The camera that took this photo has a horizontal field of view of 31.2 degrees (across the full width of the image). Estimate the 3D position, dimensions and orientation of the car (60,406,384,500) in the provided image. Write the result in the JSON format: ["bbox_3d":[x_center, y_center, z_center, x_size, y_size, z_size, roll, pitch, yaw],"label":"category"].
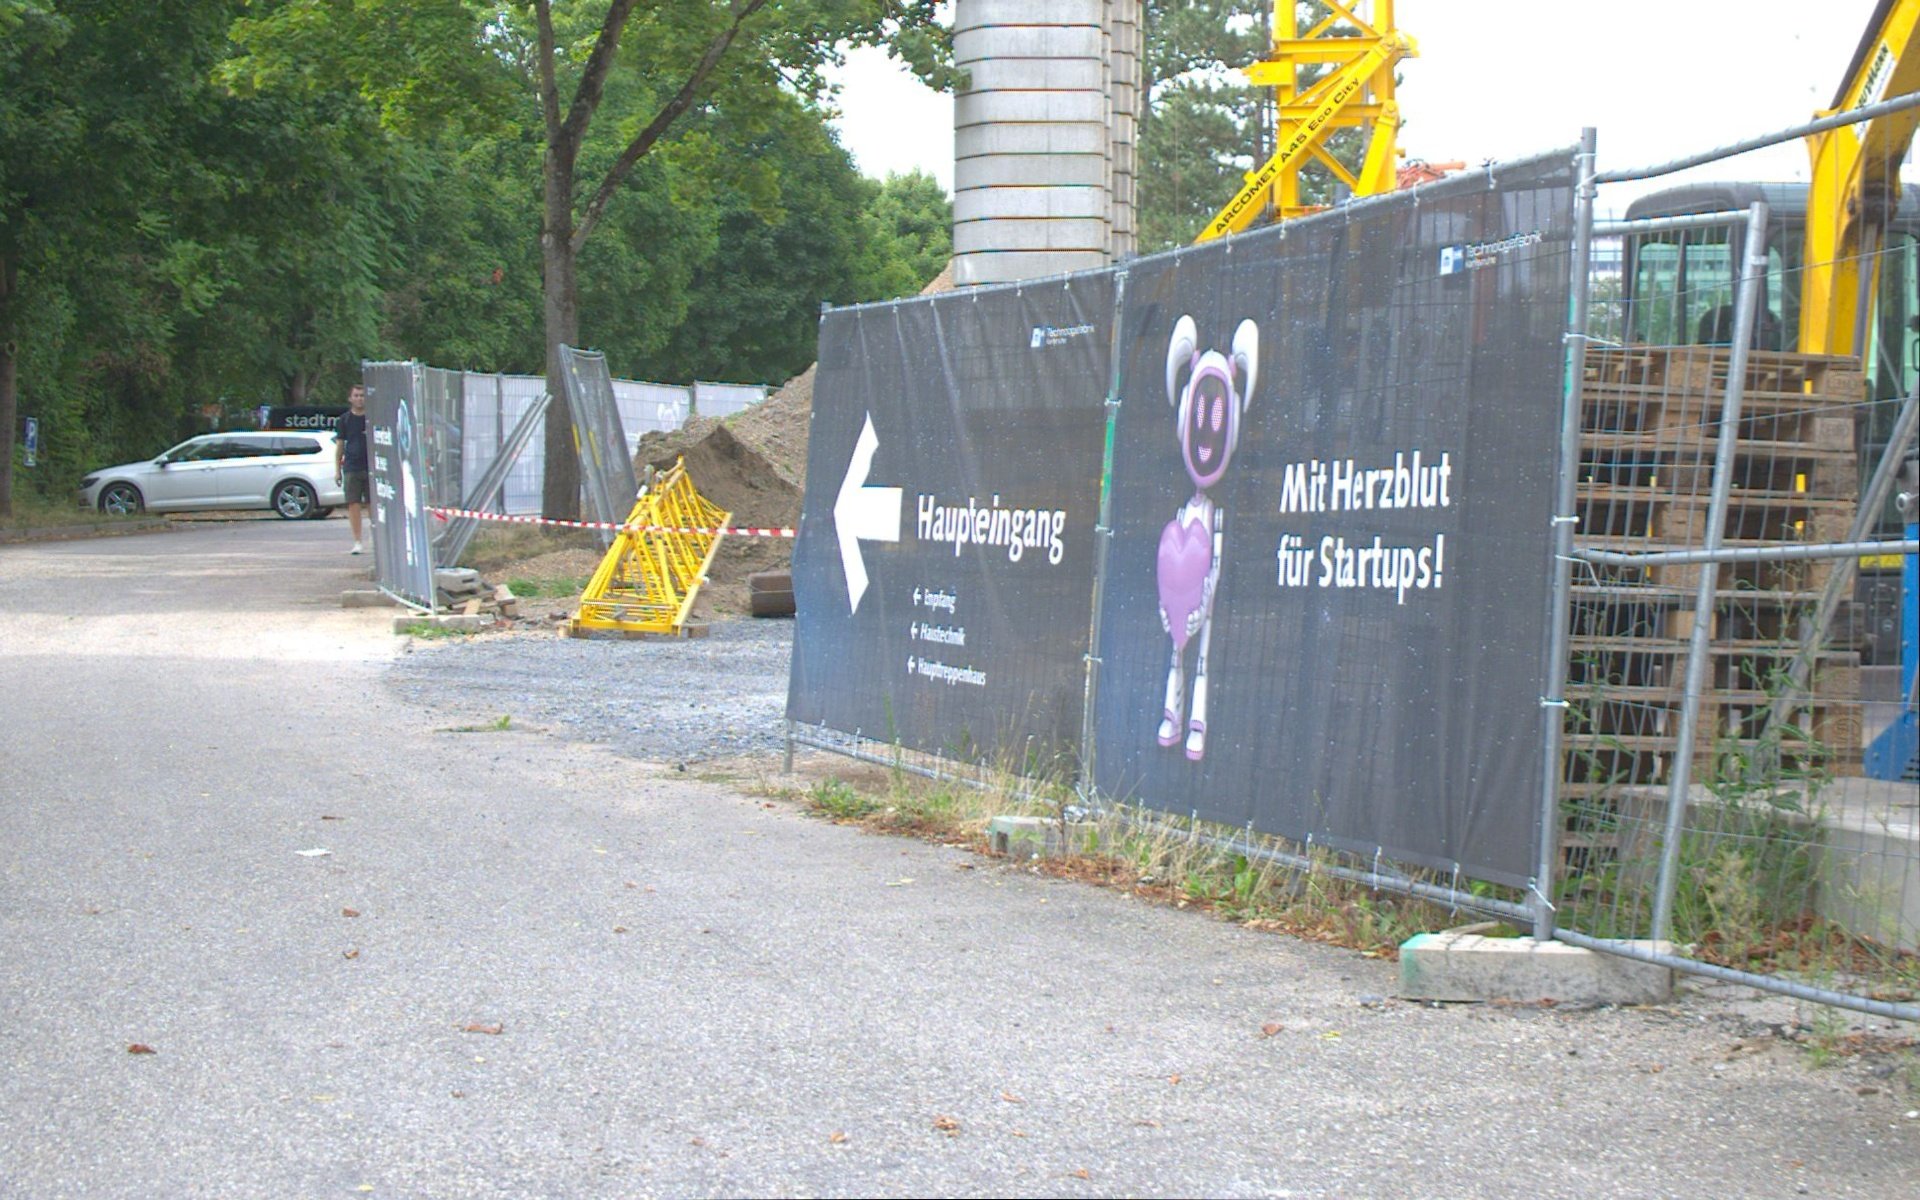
[{"bbox_3d":[-11.913,-2.397,55.716,4.792,1.483,2.000,0,3,1],"label":"car"}]

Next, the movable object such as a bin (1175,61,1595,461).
[{"bbox_3d":[8.020,-5.986,63.079,3.850,6.645,10.972,2,4,28],"label":"movable object such as a bin"}]

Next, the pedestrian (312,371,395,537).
[{"bbox_3d":[-6.585,-1.585,37.340,0.747,1.783,0.731,0,3,1],"label":"pedestrian"}]

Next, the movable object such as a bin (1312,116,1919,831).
[{"bbox_3d":[3.019,-0.521,13.444,2.489,2.434,3.062,-1,3,-11],"label":"movable object such as a bin"}]

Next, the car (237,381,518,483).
[{"bbox_3d":[-11.328,-3.281,67.067,5.046,1.946,2.000,0,3,5],"label":"car"}]
